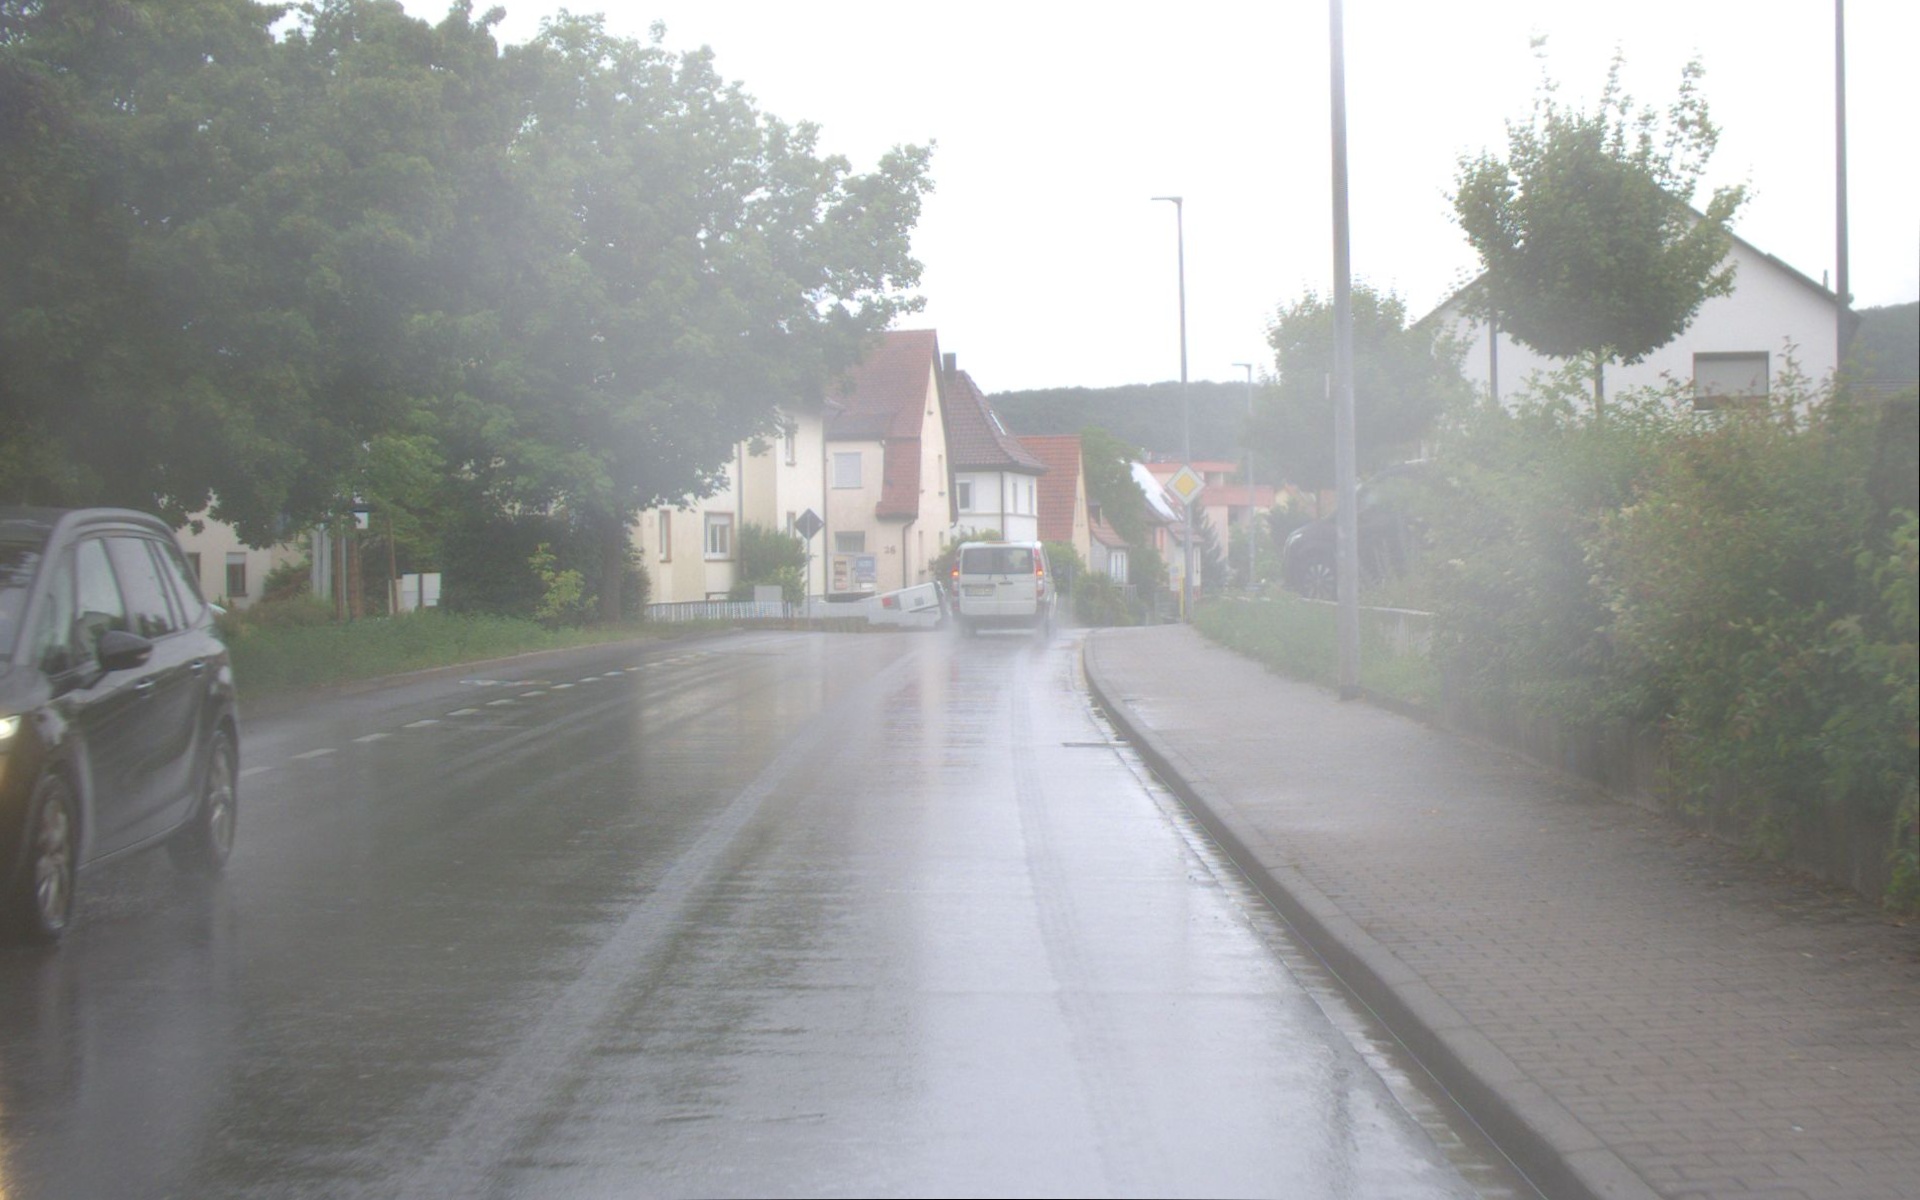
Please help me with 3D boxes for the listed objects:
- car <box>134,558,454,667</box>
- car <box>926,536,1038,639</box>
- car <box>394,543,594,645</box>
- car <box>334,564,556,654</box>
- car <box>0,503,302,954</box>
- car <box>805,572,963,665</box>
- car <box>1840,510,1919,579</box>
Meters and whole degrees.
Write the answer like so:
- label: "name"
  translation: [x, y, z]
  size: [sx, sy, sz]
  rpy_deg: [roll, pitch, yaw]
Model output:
- label: "car"
  translation: [-8.844, 0.166, 45.841]
  size: [3.900, 1.280, 1.582]
  rpy_deg: [-2, 0, 1]
- label: "car"
  translation: [0.446, -0.279, 67.755]
  size: [2.117, 1.881, 4.502]
  rpy_deg: [0, 2, 1]
- label: "car"
  translation: [-7.316, -0.083, 54.062]
  size: [2.908, 1.450, 1.253]
  rpy_deg: [-2, -2, 1]
- label: "car"
  translation: [-7.341, 0.126, 49.153]
  size: [2.908, 1.155, 1.471]
  rpy_deg: [-2, 0, 1]
- label: "car"
  translation: [-4.072, 0.384, 14.187]
  size: [1.850, 1.549, 4.502]
  rpy_deg: [0, 2, 0]
- label: "car"
  translation: [-2.452, 0.592, 112.198]
  size: [4.555, 2.006, 2.159]
  rpy_deg: [-13, 0, 8]
- label: "car"
  translation: [21.572, -1.260, 76.123]
  size: [3.768, 1.450, 1.608]
  rpy_deg: [-2, 0, 6]
